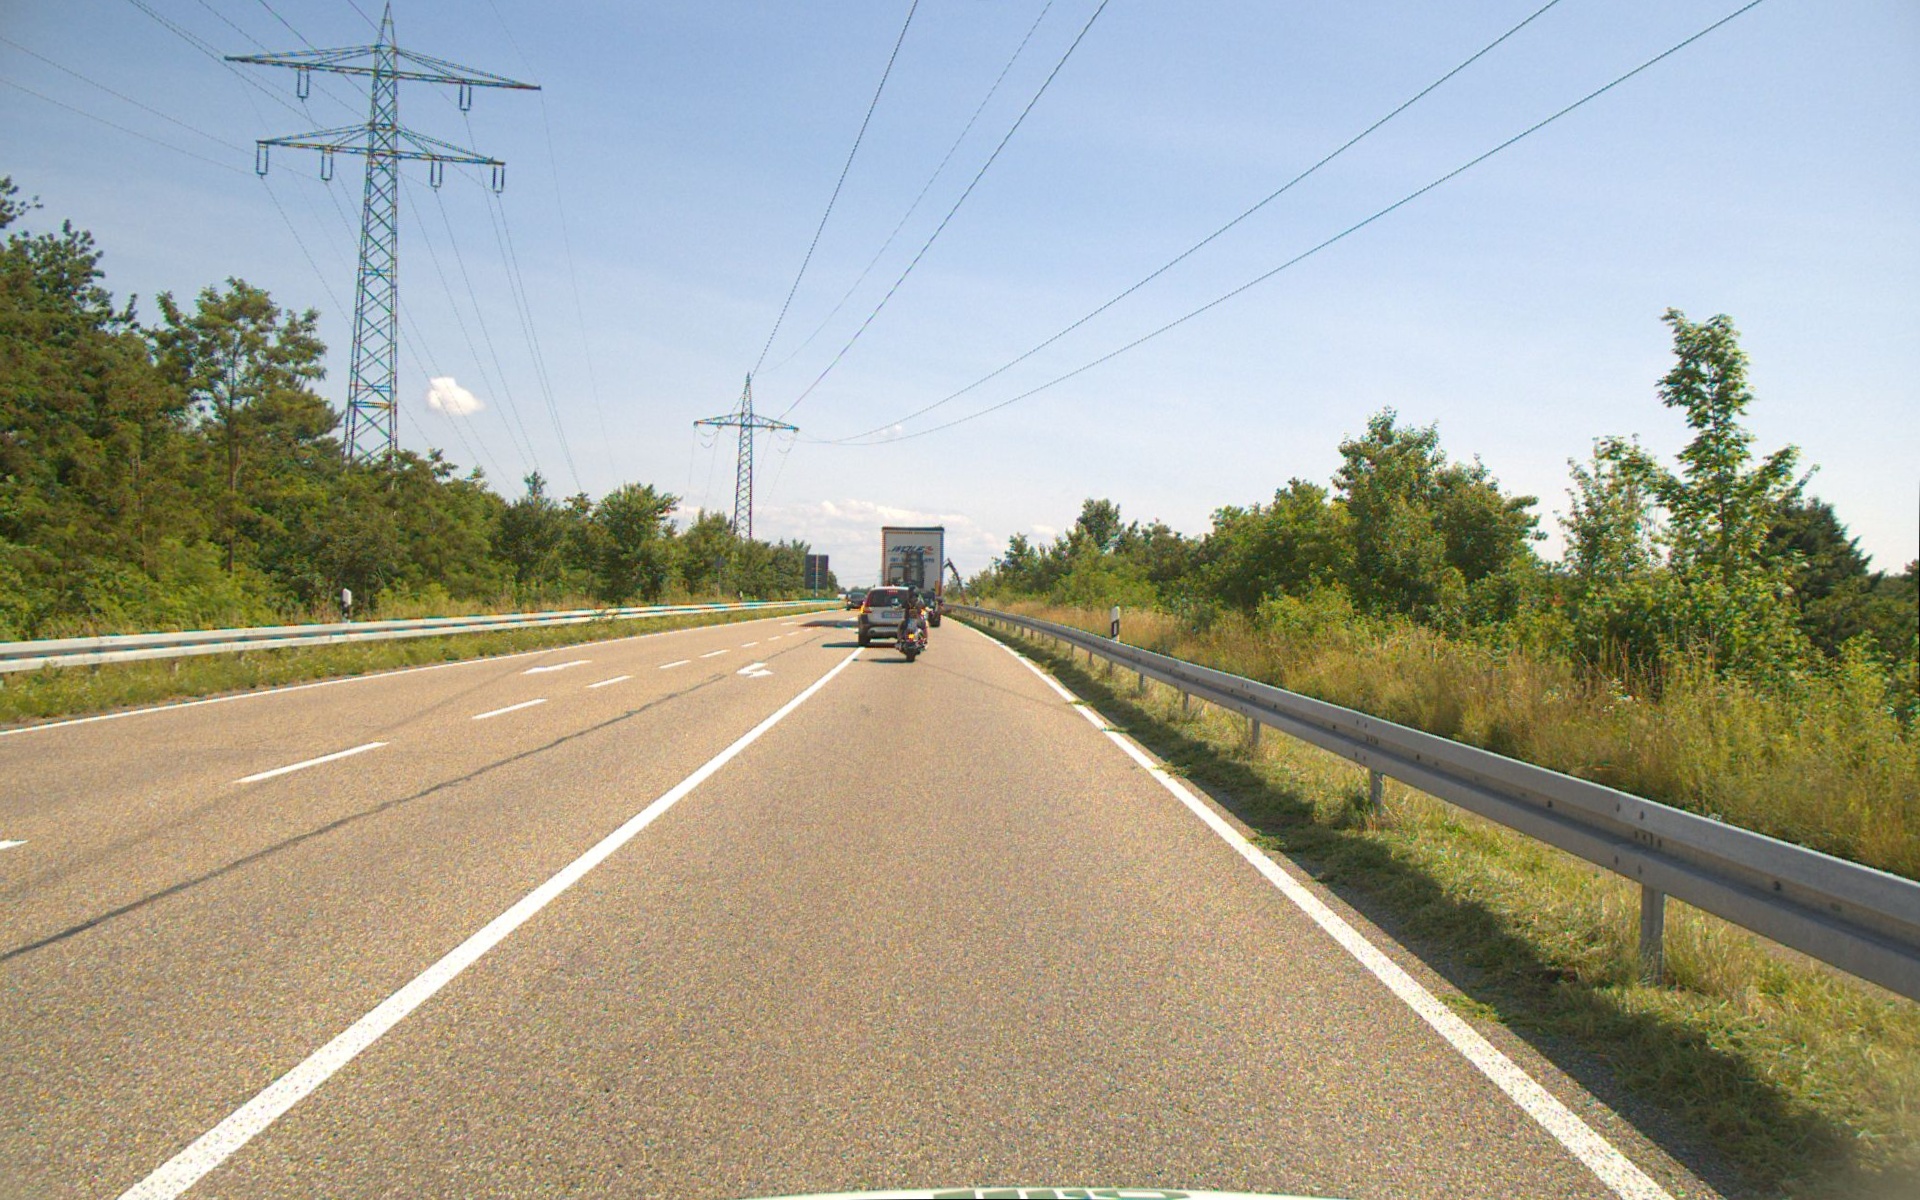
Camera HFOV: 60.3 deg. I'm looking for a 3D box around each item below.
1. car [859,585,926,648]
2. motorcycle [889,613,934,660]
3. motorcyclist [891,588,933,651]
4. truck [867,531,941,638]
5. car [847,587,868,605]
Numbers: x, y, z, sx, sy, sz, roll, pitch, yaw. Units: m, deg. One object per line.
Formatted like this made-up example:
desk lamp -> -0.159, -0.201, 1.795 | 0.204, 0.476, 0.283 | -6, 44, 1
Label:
car -> -1.778, 0.414, 43.956 | 1.666, 1.563, 3.498 | 1, 0, -2
motorcycle -> -1.038, 0.755, 34.828 | 0.842, 0.931, 2.226 | 1, 0, -4
motorcyclist -> -1.015, 0.400, 34.802 | 0.820, 1.303, 0.918 | 1, 0, -4
truck -> -2.365, -0.638, 74.417 | 2.907, 4.260, 14.819 | 1, 0, -1
car -> -9.006, -0.383, 145.510 | 1.692, 1.517, 4.421 | 1, 0, -2
